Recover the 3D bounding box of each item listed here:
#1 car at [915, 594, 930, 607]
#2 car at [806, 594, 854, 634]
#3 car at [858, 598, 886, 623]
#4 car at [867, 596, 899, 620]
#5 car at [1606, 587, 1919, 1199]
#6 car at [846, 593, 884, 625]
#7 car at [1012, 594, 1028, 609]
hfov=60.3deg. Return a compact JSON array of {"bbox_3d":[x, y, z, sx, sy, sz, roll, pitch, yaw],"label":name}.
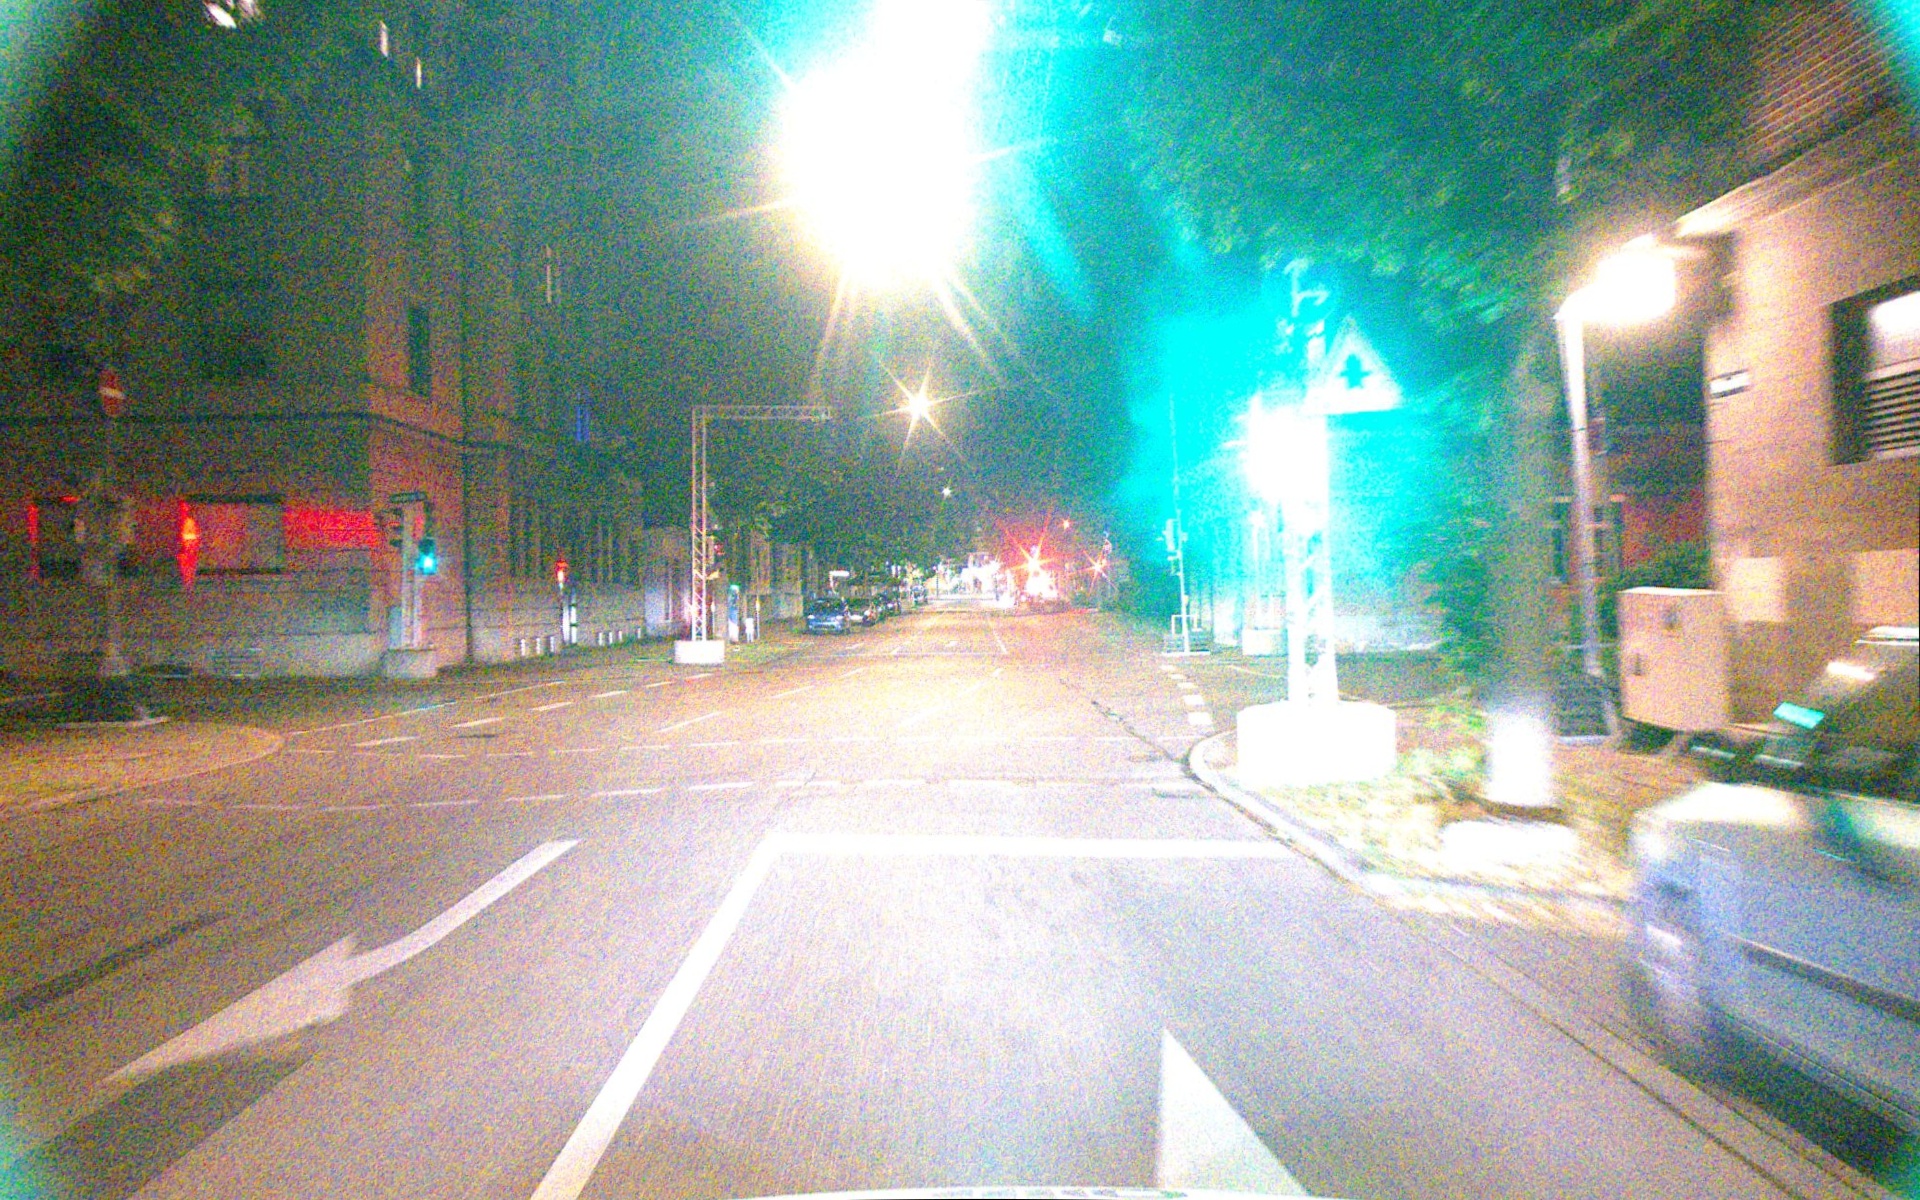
[{"bbox_3d":[-4.393,0.007,192.882,1.617,1.456,4.000,-2,0,0],"label":"car"},{"bbox_3d":[-5.297,0.586,67.751,1.679,1.520,3.989,0,-2,0],"label":"car"},{"bbox_3d":[-5.168,0.614,97.397,1.590,1.407,4.450,-2,0,-2],"label":"car"},{"bbox_3d":[-5.138,0.527,110.559,1.860,1.497,4.452,0,1,1],"label":"car"},{"bbox_3d":[3.055,0.710,4.079,1.553,1.486,3.798,0,0,2],"label":"car"},{"bbox_3d":[-4.799,0.435,83.900,1.732,1.512,4.766,-2,0,-1],"label":"car"},{"bbox_3d":[6.138,0.150,168.807,1.617,1.456,4.001,-2,0,2],"label":"car"}]
